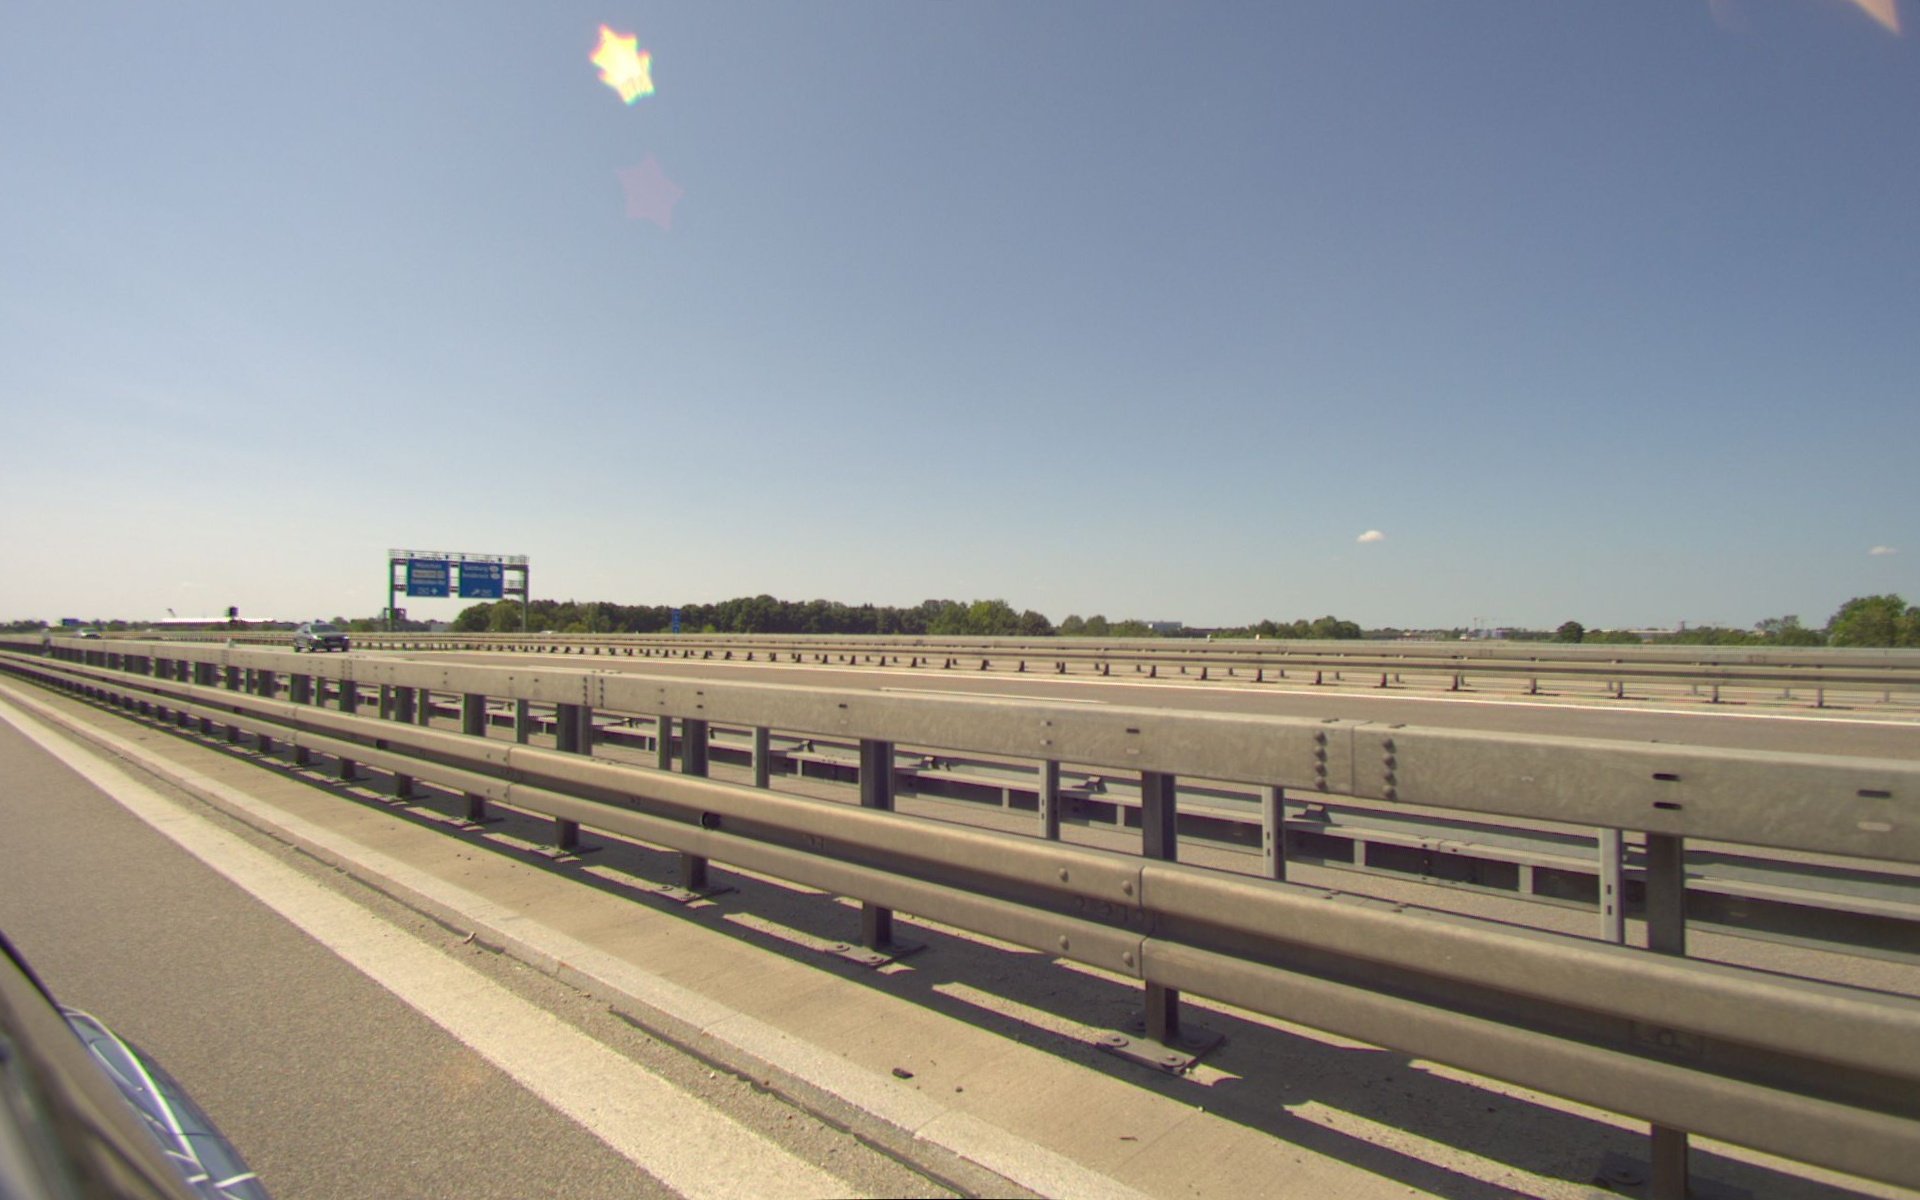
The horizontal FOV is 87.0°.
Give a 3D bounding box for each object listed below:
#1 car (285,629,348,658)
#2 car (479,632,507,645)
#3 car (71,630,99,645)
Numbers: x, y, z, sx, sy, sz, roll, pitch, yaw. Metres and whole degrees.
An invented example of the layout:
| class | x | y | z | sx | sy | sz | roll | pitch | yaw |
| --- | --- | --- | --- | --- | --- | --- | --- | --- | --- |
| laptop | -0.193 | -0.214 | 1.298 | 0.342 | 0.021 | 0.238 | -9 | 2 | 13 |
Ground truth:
| class | x | y | z | sx | sy | sz | roll | pitch | yaw |
| --- | --- | --- | --- | --- | --- | --- | --- | --- | --- |
| car | -35.397 | 2.346 | 55.602 | 4.575 | 1.529 | 1.818 | -1 | -2 | 43 |
| car | -52.923 | 4.333 | 114.671 | 3.343 | 1.364 | 1.561 | 1 | -1 | 41 |
| car | -96.110 | 4.086 | 111.180 | 4.575 | 1.529 | 1.818 | -1 | -2 | 43 |
